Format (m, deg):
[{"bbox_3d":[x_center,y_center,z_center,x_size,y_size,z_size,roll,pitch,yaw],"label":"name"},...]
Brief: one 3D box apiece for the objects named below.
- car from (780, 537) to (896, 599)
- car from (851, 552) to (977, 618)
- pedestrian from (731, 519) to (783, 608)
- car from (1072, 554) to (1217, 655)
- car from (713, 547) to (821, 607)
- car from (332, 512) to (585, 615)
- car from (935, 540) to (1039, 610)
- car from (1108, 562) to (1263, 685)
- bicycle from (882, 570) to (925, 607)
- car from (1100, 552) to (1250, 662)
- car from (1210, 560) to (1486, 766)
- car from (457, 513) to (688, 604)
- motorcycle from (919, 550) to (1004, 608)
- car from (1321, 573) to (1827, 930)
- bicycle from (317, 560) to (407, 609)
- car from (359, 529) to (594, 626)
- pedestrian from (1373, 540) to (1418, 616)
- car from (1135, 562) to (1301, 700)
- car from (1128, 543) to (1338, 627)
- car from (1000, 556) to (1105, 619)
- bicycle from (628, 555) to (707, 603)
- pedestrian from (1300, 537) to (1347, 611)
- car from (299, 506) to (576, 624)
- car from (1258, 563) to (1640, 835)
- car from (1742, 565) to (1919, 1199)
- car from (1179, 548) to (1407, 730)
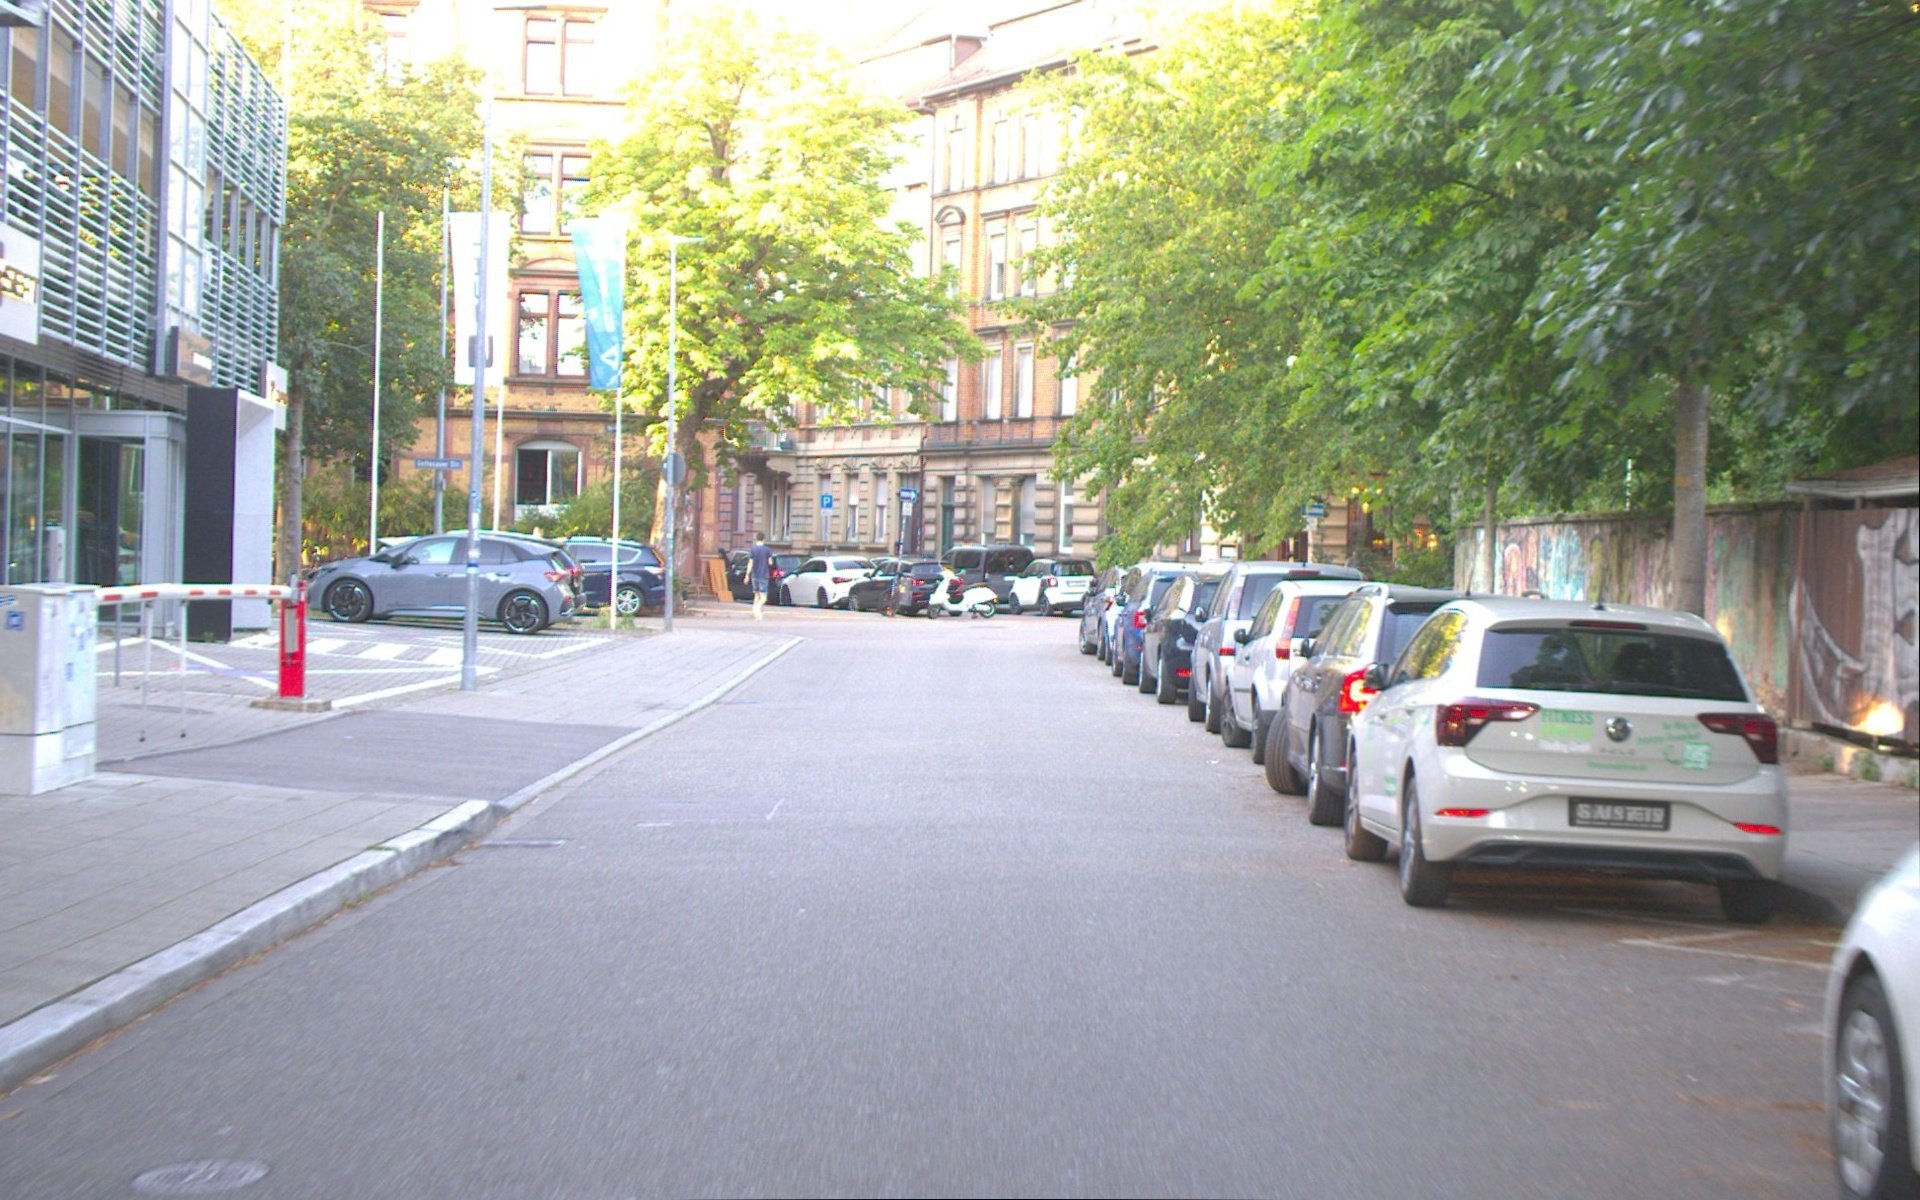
[{"bbox_3d":[-3.216,-0.858,90.023,1.654,1.426,4.168,2,2,-22],"label":"car"},{"bbox_3d":[-1.171,-0.392,85.607,1.654,1.426,3.991,2,2,-24],"label":"car"},{"bbox_3d":[-4.188,-0.758,70.881,0.735,1.798,1.122,1,2,-20],"label":"pedestrian"},{"bbox_3d":[2.854,0.042,53.984,1.695,1.471,4.213,2,1,-5],"label":"car"},{"bbox_3d":[-5.332,-0.646,94.526,1.654,1.426,3.897,2,2,-24],"label":"car"},{"bbox_3d":[-8.521,-0.635,58.630,4.066,1.612,1.765,2,2,-2],"label":"car"},{"bbox_3d":[0.715,-0.697,94.057,1.674,1.776,3.016,2,1,-24],"label":"car"},{"bbox_3d":[2.892,0.271,44.719,1.695,1.471,4.117,2,1,0],"label":"car"},{"bbox_3d":[-1.315,-0.273,80.206,0.425,0.819,1.460,2,2,22],"label":"bicycle"},{"bbox_3d":[3.065,0.078,49.575,1.695,1.471,3.560,2,1,-3],"label":"car"},{"bbox_3d":[3.085,0.459,28.026,1.759,1.436,3.874,2,2,0],"label":"car"},{"bbox_3d":[-8.365,-0.906,74.299,4.828,1.726,1.921,2,2,-6],"label":"car"},{"bbox_3d":[0.044,-0.501,82.306,1.931,1.336,0.577,1,2,-10],"label":"motorcycle"},{"bbox_3d":[2.918,0.655,17.179,1.759,1.437,4.006,2,2,0],"label":"car"},{"bbox_3d":[-12.936,-0.339,74.396,1.854,1.024,0.446,1,2,-24],"label":"bicycle"},{"bbox_3d":[-8.803,-0.417,62.831,4.045,1.470,1.921,3,2,-4],"label":"car"},{"bbox_3d":[10.513,-0.531,83.042,0.773,1.798,0.843,1,2,-15],"label":"pedestrian"},{"bbox_3d":[2.955,0.321,39.991,1.596,1.471,3.774,2,1,0],"label":"car"},{"bbox_3d":[5.250,-0.277,65.805,1.880,1.461,3.961,4,2,44],"label":"car"},{"bbox_3d":[2.427,-0.343,90.665,1.674,1.520,2.768,2,1,-24],"label":"car"},{"bbox_3d":[-6.545,-0.462,76.925,1.671,1.024,0.446,1,2,-24],"label":"bicycle"},{"bbox_3d":[9.027,-0.645,85.333,0.840,1.798,0.776,1,2,-20],"label":"pedestrian"},{"bbox_3d":[-8.377,-0.579,55.387,4.129,1.612,1.913,4,2,-2],"label":"car"},{"bbox_3d":[2.992,0.546,21.907,1.759,1.449,4.393,2,1,0],"label":"car"},{"bbox_3d":[2.892,0.754,6.744,1.722,1.514,4.026,2,2,0],"label":"car"},{"bbox_3d":[3.133,0.321,33.034,1.759,1.598,3.874,2,1,0],"label":"car"}]
